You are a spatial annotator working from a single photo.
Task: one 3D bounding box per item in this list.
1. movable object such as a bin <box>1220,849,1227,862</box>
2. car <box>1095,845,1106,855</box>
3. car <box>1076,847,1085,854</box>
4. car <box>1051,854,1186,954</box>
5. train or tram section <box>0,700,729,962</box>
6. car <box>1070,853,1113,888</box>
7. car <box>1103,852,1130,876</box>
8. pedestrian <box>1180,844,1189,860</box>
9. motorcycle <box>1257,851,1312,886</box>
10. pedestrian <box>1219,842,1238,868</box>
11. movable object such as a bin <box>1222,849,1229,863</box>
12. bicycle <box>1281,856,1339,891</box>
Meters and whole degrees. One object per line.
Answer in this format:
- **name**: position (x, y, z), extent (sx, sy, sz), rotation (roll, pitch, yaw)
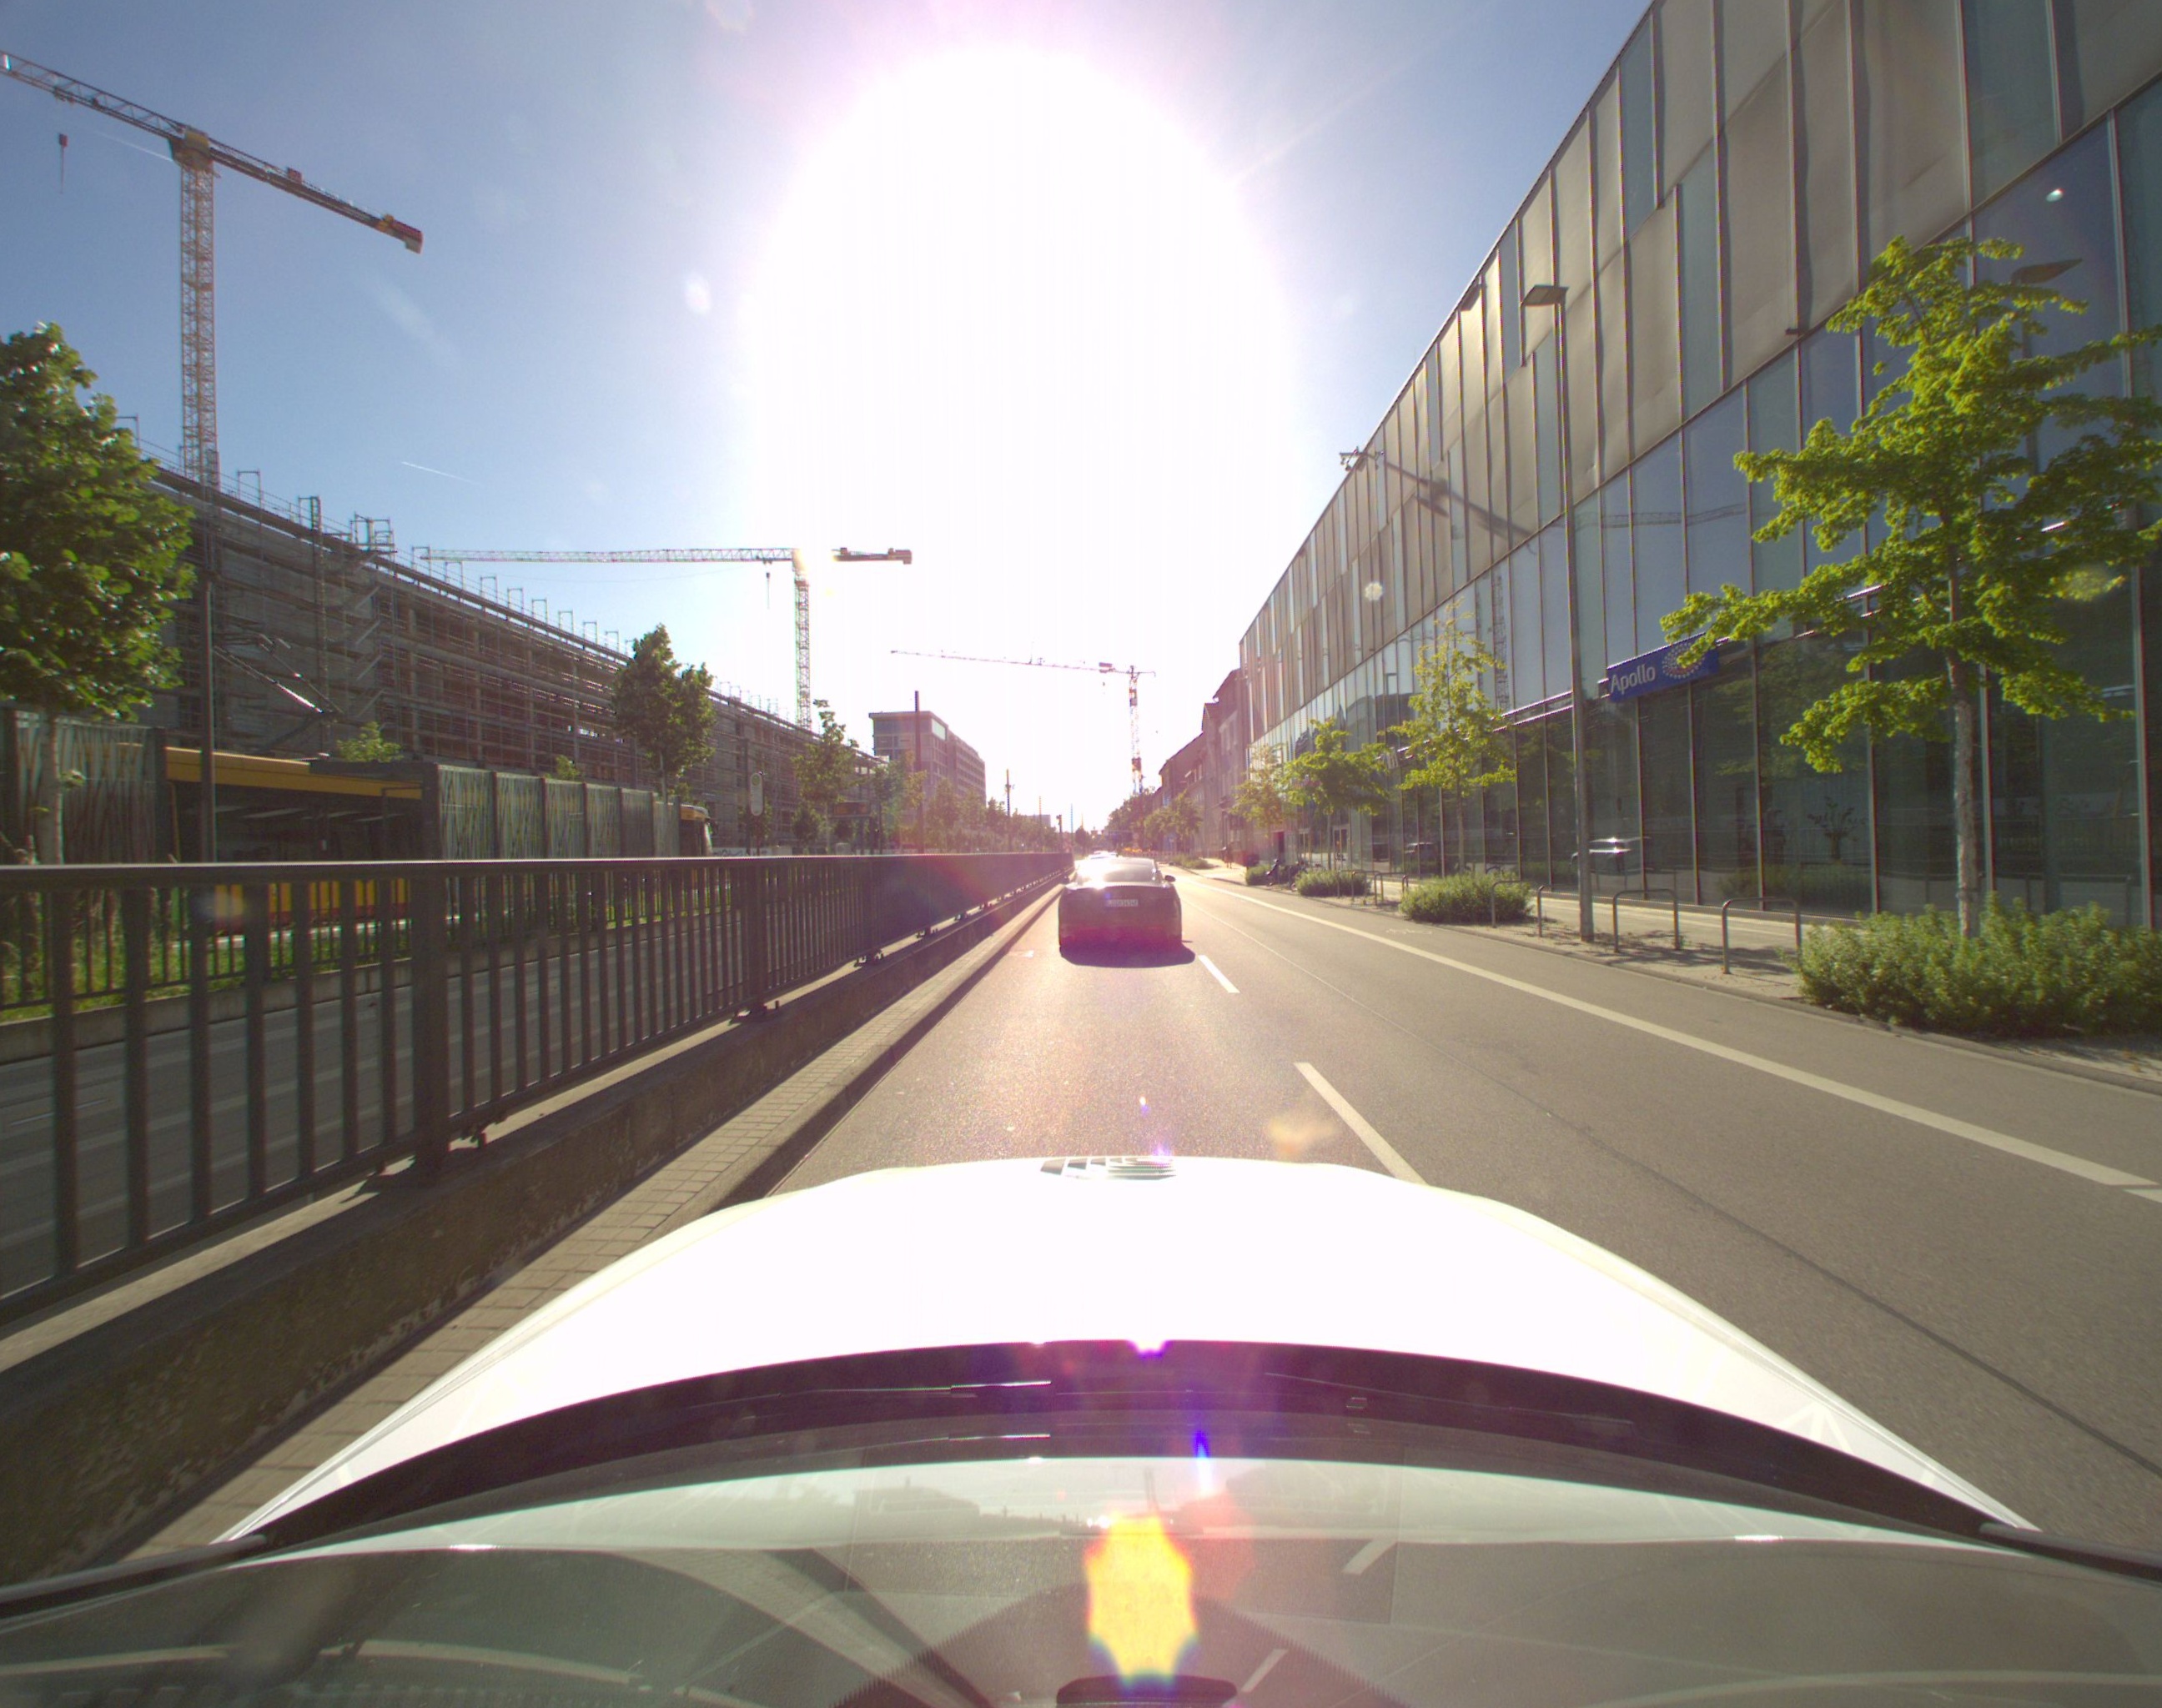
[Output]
- **movable object such as a bin**: position (12.483, 0.157, 71.330), extent (0.556, 1.169, 0.563), rotation (0, -1, 5)
- **car**: position (3.814, -0.740, 158.450), extent (1.806, 1.809, 4.042), rotation (-1, 1, 3)
- **car**: position (-0.168, -0.786, 194.974), extent (1.987, 1.684, 4.000), rotation (0, 0, 1)
- **car**: position (0.753, 0.742, 14.309), extent (1.989, 1.434, 4.419), rotation (-1, 0, 5)
- **train or tram section**: position (-14.706, -0.337, 18.762), extent (2.859, 3.279, 22.153), rotation (0, 0, 2)
- **car**: position (0.508, 0.673, 35.076), extent (1.709, 1.319, 4.003), rotation (-1, 1, 3)
- **car**: position (2.500, 0.642, 57.057), extent (1.777, 1.546, 4.042), rotation (-1, 1, 3)
- **pedestrian**: position (12.128, -0.276, 95.652), extent (0.848, 1.863, 0.930), rotation (-2, 0, 0)
- **motorcycle**: position (8.549, 0.613, 34.223), extent (2.054, 1.353, 0.656), rotation (-4, -1, 24)
- **pedestrian**: position (11.202, 0.081, 61.895), extent (1.091, 1.863, 1.523), rotation (-2, 0, 0)
- **movable object such as a bin**: position (12.536, 0.153, 70.480), extent (0.556, 1.169, 0.563), rotation (0, -1, 5)
- **bicycle**: position (8.318, 0.698, 29.585), extent (1.881, 1.151, 0.669), rotation (-3, 0, -9)
